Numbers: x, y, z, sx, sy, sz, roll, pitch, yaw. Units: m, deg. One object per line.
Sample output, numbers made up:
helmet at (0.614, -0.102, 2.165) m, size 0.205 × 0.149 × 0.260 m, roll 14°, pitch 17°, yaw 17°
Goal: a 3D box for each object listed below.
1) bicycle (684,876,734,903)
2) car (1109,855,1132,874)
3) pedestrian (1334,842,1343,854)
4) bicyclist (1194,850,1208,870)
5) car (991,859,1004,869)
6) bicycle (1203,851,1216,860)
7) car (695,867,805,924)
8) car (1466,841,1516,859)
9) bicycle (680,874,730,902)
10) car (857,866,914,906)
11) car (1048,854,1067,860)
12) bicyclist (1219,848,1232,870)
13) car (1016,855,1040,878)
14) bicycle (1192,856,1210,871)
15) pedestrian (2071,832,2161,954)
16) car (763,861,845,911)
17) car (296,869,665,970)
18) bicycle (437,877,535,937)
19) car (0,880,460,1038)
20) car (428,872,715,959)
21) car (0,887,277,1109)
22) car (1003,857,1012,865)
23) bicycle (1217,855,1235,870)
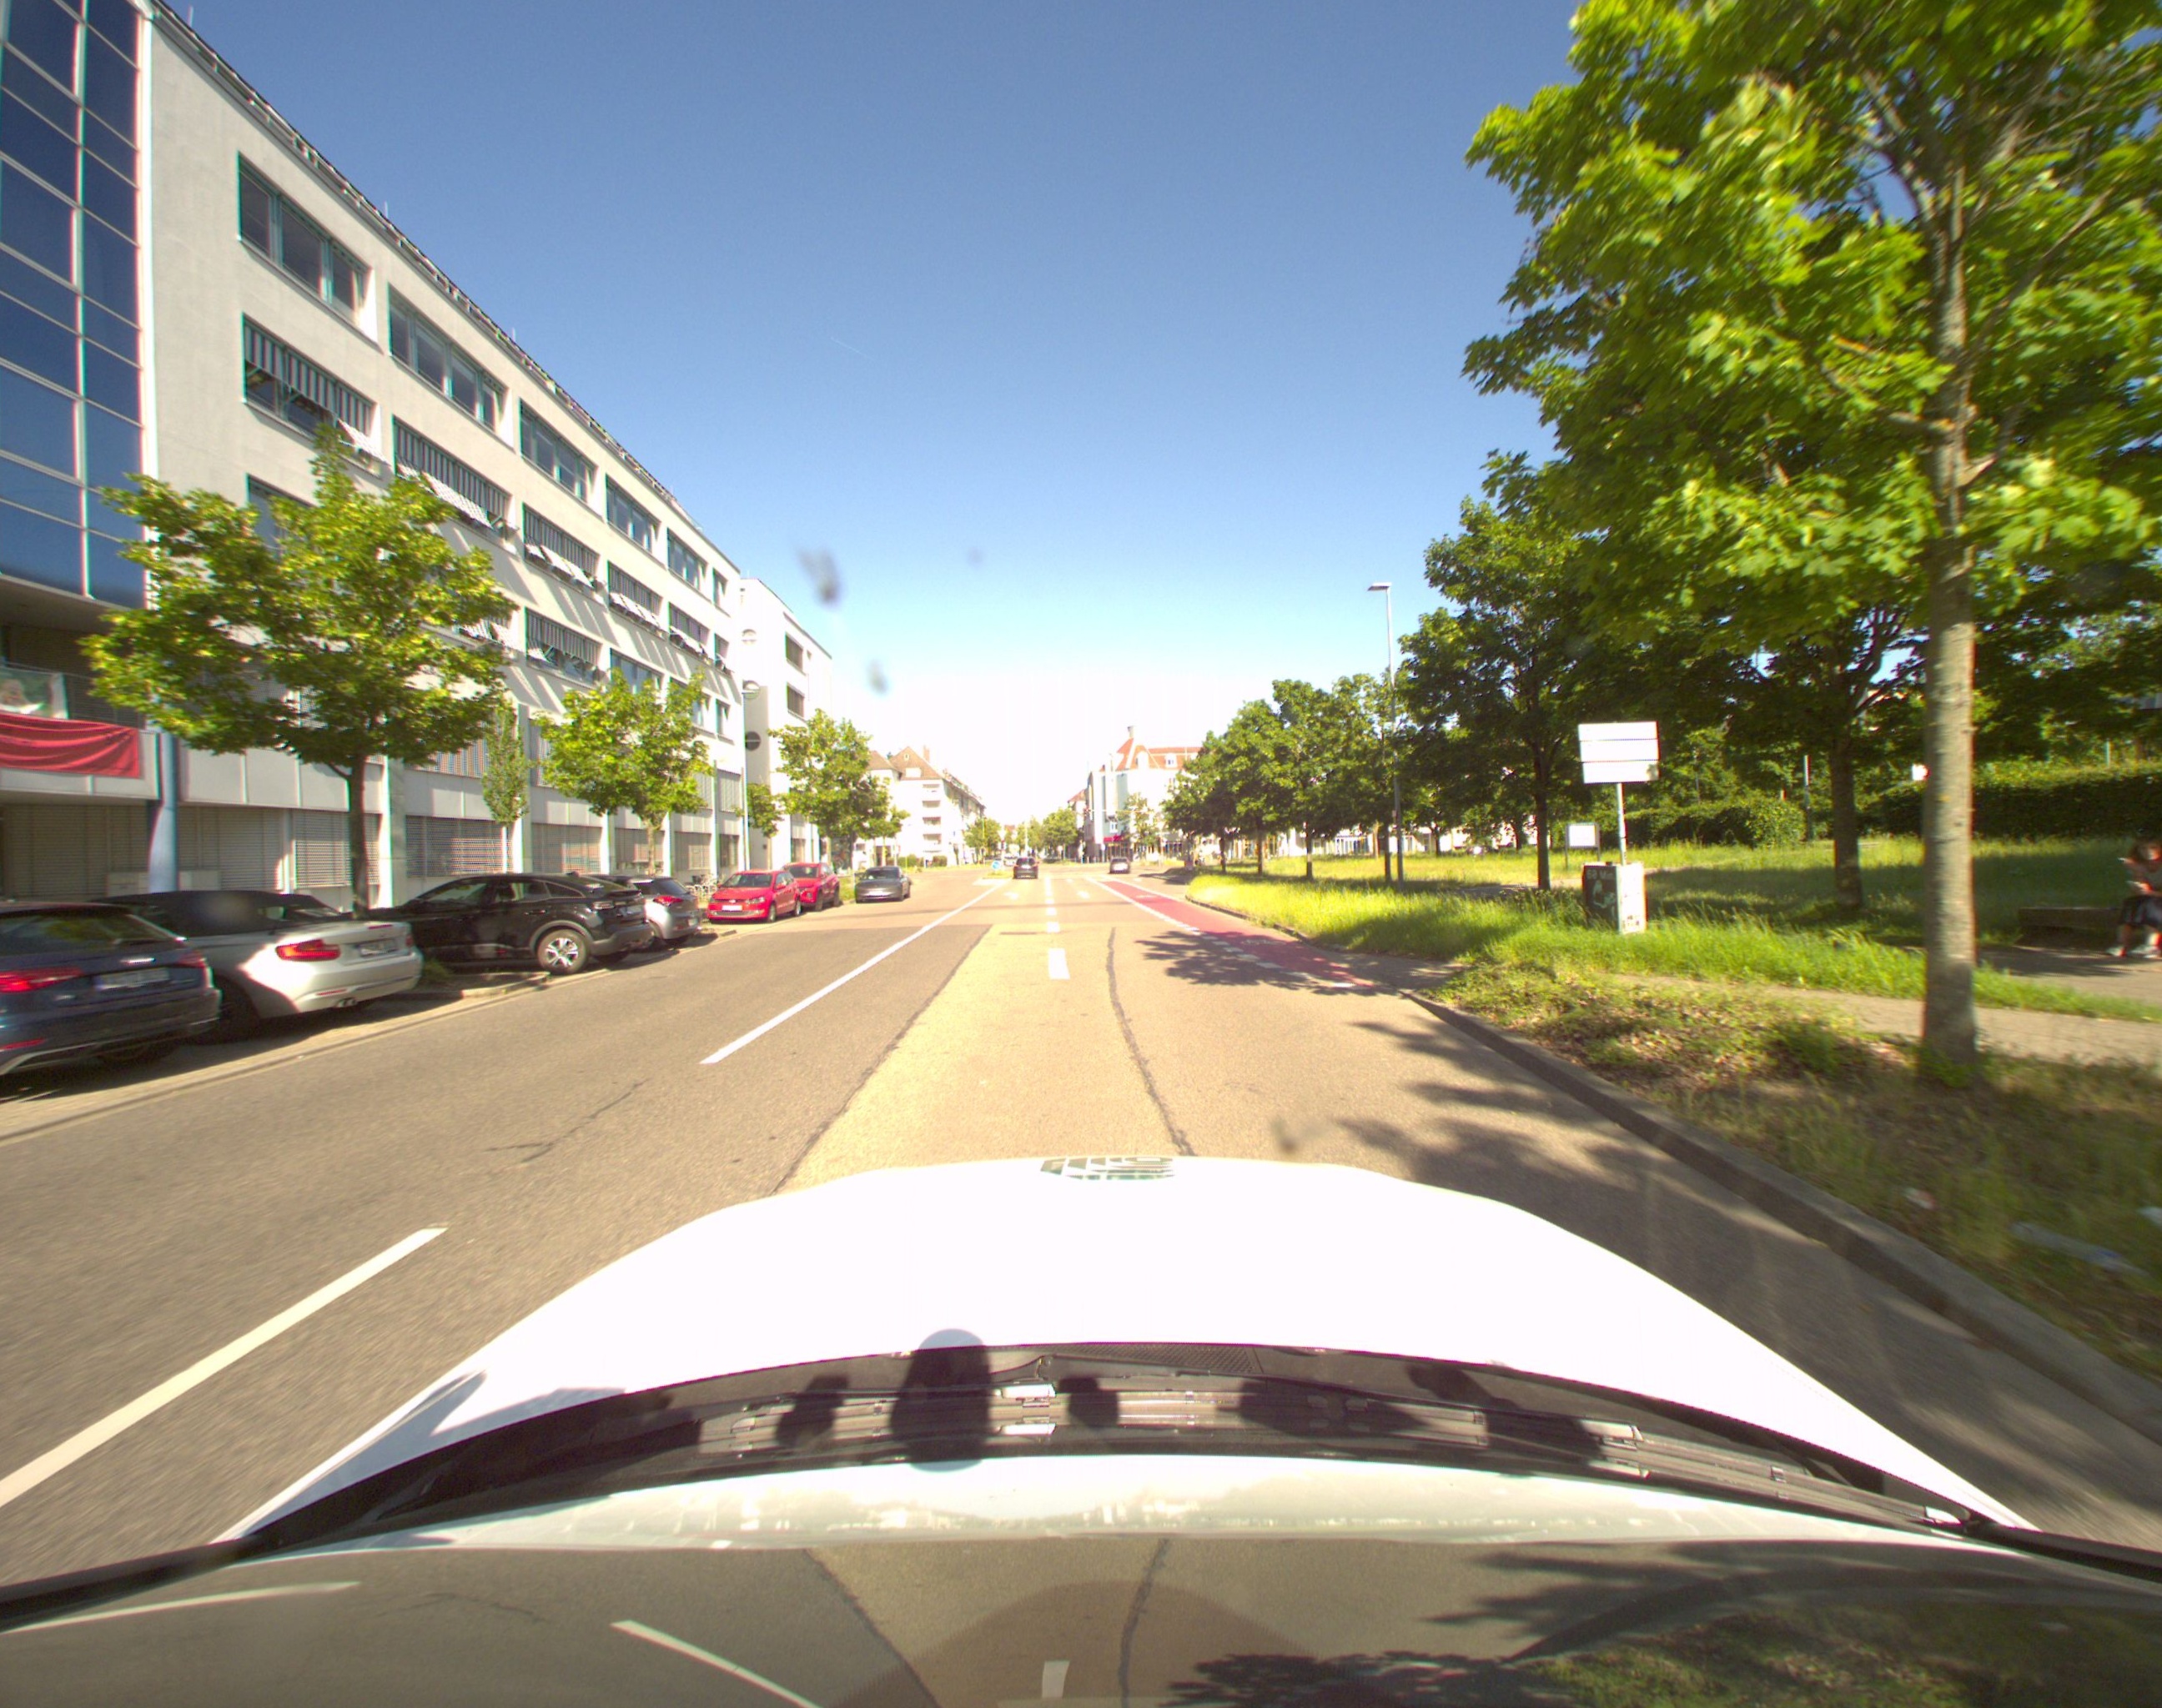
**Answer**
bicycle at (-15.715, 1.498, 34.429) m, size 1.780 × 1.069 × 0.622 m, roll -3°, pitch -1°, yaw 4°
car at (3.509, 0.911, 71.752) m, size 1.679 × 1.578 × 3.879 m, roll 0°, pitch -1°, yaw 7°
pedestrian at (37.582, -0.895, 118.899) m, size 0.988 × 1.723 × 0.653 m, roll -2°, pitch 0°, yaw -5°
bicyclist at (11.292, 0.604, 76.553) m, size 0.782 × 1.824 × 1.143 m, roll -3°, pitch 0°, yaw 34°
car at (-13.149, 1.630, 128.974) m, size 1.749 × 1.556 × 3.728 m, roll 1°, pitch 0°, yaw -2°
bicycle at (18.944, 0.238, 120.015) m, size 1.862 × 1.182 × 0.560 m, roll -2°, pitch 0°, yaw -8°
car at (-9.277, 1.117, 23.160) m, size 1.684 × 1.432 × 3.867 m, roll 1°, pitch 0°, yaw -3°
car at (39.428, -0.374, 78.317) m, size 3.945 × 1.600 × 1.673 m, roll -3°, pitch 0°, yaw -5°
bicycle at (-15.550, 1.393, 33.672) m, size 1.759 × 1.069 × 0.556 m, roll -3°, pitch -1°, yaw 4°
car at (-8.165, 1.288, 34.317) m, size 1.686 × 1.468 × 4.537 m, roll -2°, pitch 0°, yaw -6°
car at (-4.752, 0.618, 165.255) m, size 3.565 × 1.223 × 1.726 m, roll -1°, pitch -1°, yaw -8°
bicyclist at (13.618, 0.452, 76.659) m, size 0.782 × 1.959 × 1.017 m, roll -3°, pitch 0°, yaw 34°
car at (-3.973, 0.906, 60.606) m, size 1.751 × 1.628 × 4.470 m, roll 1°, pitch 0°, yaw -5°
bicycle at (11.273, 0.852, 76.497) m, size 0.782 × 1.348 × 2.092 m, roll -3°, pitch 0°, yaw 34°
pedestrian at (11.311, 0.389, 8.632) m, size 0.846 × 1.217 × 0.725 m, roll -3°, pitch 0°, yaw -16°
car at (-9.562, 1.056, 28.446) m, size 1.685 × 1.607 × 4.303 m, roll 1°, pitch 0°, yaw -5°
car at (-9.228, 0.983, 12.855) m, size 4.379 × 1.432 × 1.690 m, roll 1°, pitch -1°, yaw -6°
bicycle at (-15.027, 1.309, 20.652) m, size 0.706 × 1.347 × 2.233 m, roll -3°, pitch -1°, yaw 3°
car at (-9.476, 1.026, 8.579) m, size 4.378 × 1.432 × 1.691 m, roll 1°, pitch -1°, yaw -5°
car at (-9.730, 1.147, 15.874) m, size 4.382 × 1.538 × 1.689 m, roll 1°, pitch -1°, yaw -8°
car at (-9.272, 0.997, 6.185) m, size 4.378 × 1.432 × 1.690 m, roll 1°, pitch -1°, yaw -5°
car at (-15.691, 1.531, 173.851) m, size 1.749 × 1.556 × 3.728 m, roll 1°, pitch 0°, yaw -2°
bicycle at (13.635, 0.766, 76.668) m, size 0.782 × 1.348 × 2.277 m, roll -3°, pitch 0°, yaw 35°
